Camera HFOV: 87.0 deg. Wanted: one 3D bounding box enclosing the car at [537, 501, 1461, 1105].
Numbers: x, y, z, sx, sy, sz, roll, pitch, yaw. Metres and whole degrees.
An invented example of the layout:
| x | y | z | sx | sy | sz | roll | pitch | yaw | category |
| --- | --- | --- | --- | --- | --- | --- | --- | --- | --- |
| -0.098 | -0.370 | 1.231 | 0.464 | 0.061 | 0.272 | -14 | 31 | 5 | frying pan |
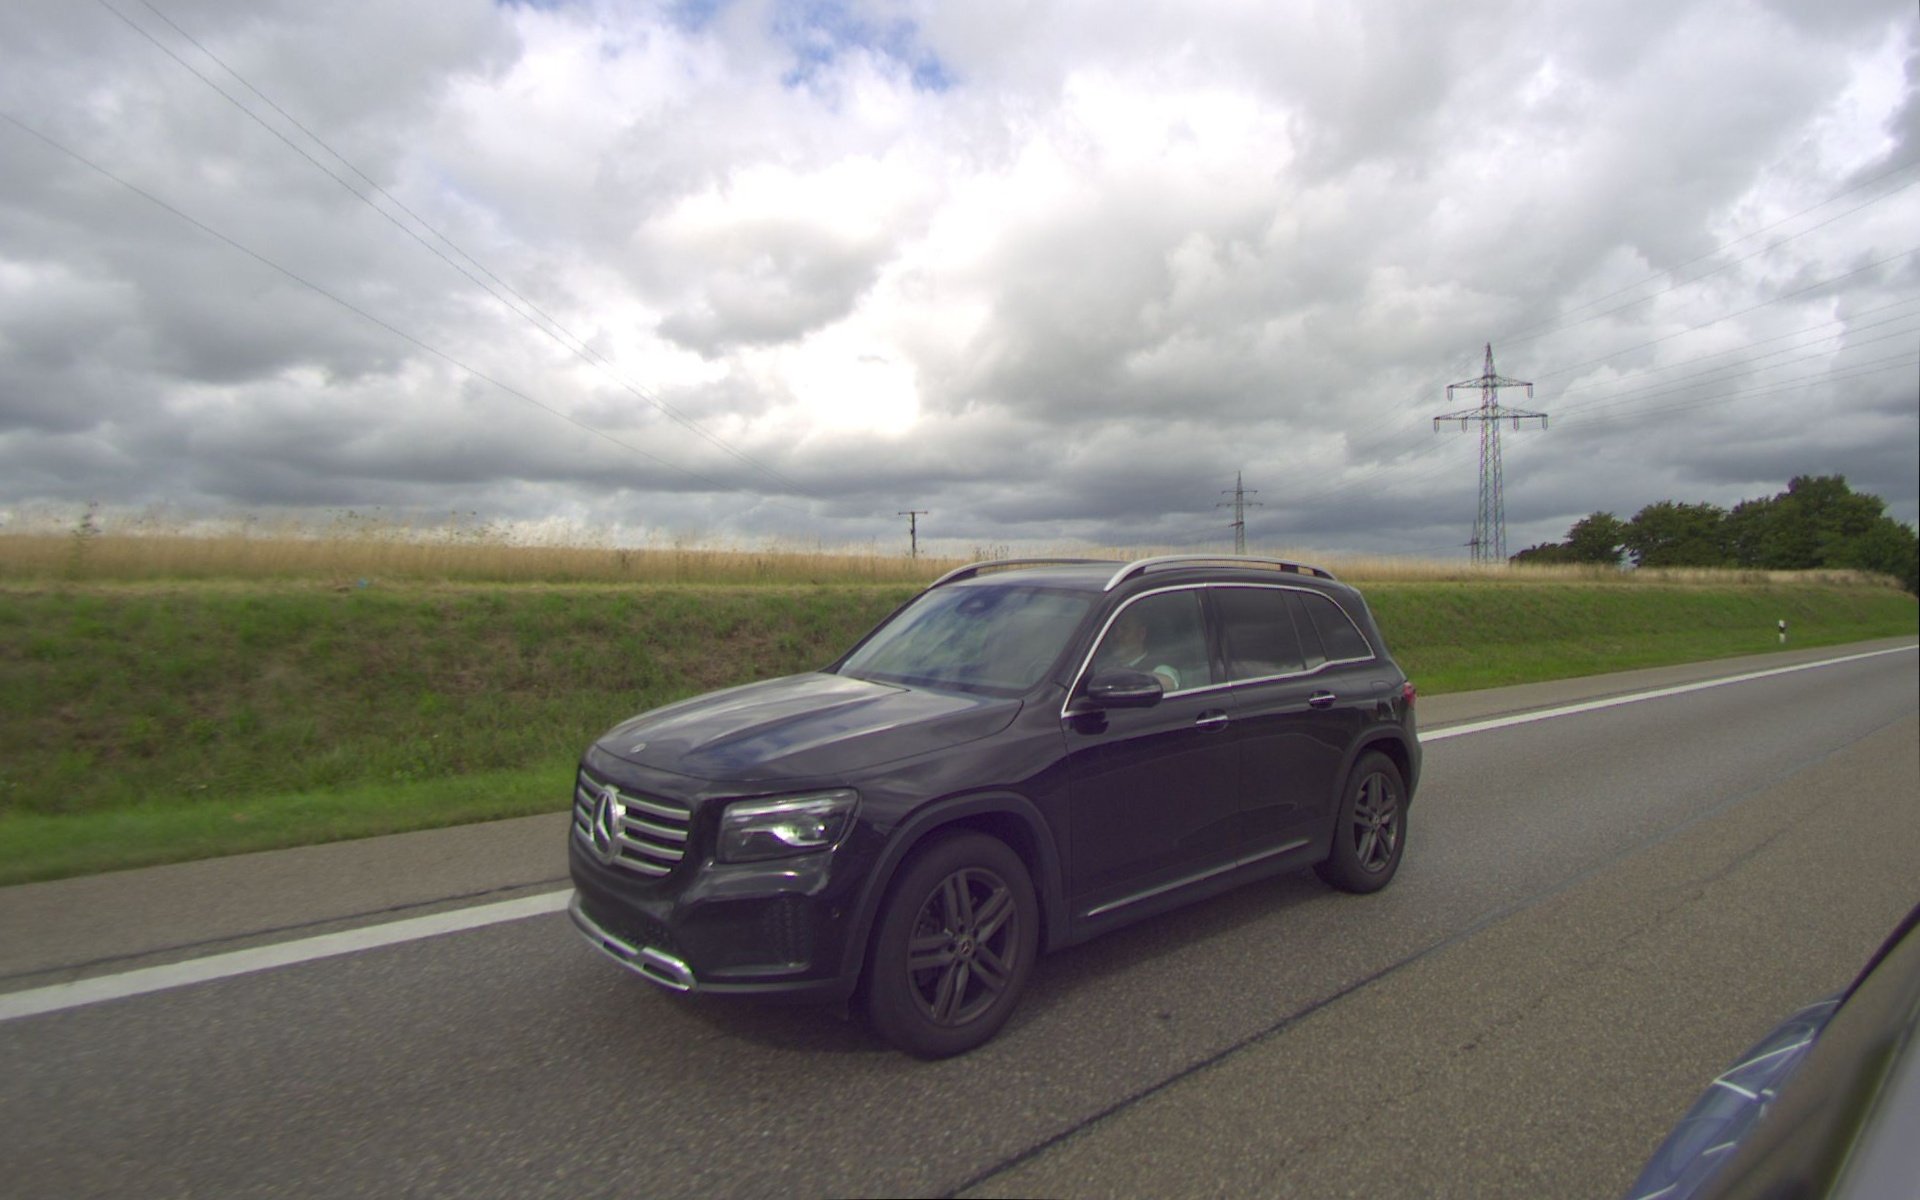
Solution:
| x | y | z | sx | sy | sz | roll | pitch | yaw | category |
| --- | --- | --- | --- | --- | --- | --- | --- | --- | --- |
| 0.485 | 0.515 | 4.813 | 4.283 | 1.629 | 1.837 | -1 | 1 | -40 | car |
